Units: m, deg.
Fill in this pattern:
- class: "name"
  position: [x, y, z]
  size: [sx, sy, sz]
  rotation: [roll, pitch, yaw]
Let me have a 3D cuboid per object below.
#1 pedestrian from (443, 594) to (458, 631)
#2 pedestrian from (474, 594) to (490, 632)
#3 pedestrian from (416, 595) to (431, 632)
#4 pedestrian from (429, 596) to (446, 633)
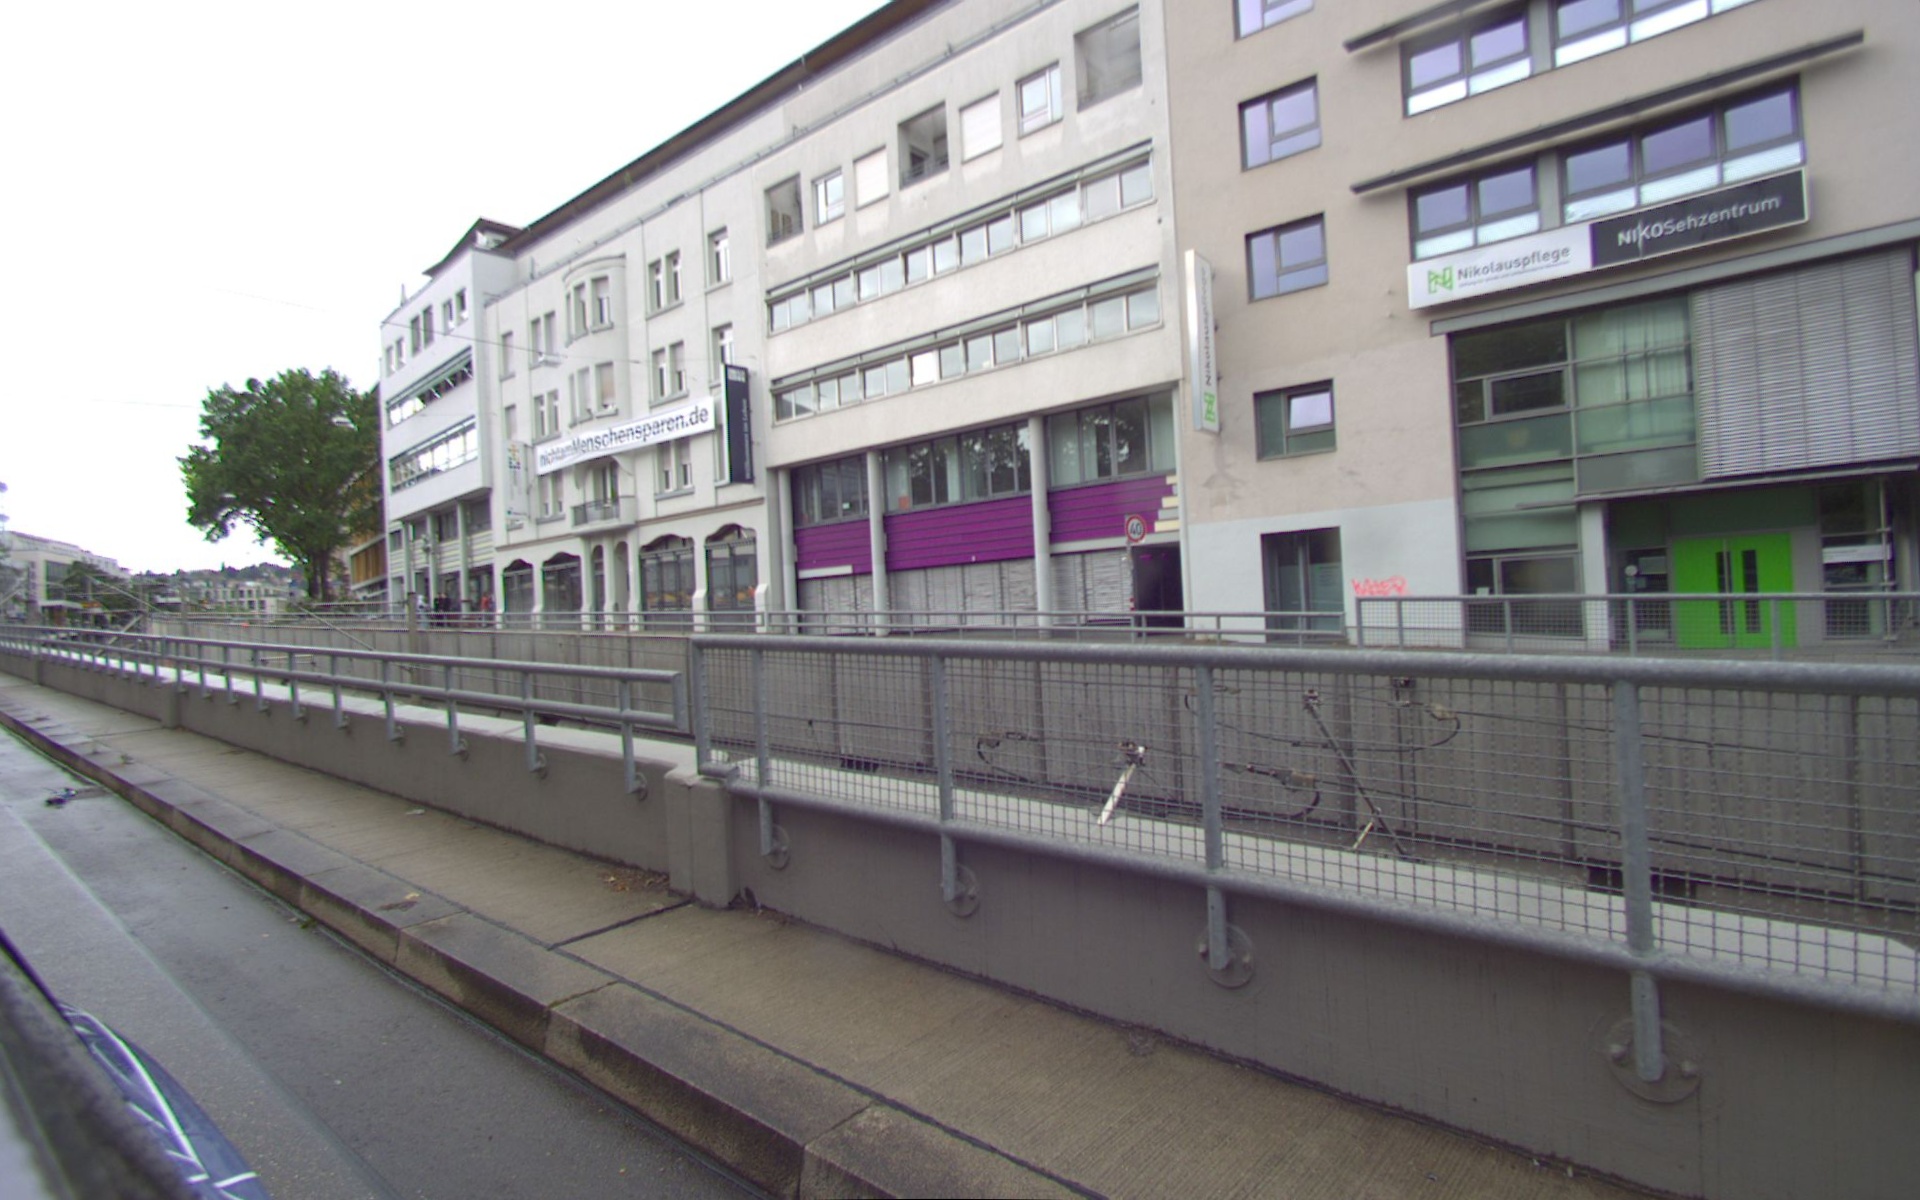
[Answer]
- class: "pedestrian"
  position: [-25.414, 0.625, 50.467]
  size: [0.547, 1.816, 0.463]
  rotation: [-2, 1, 44]
- class: "pedestrian"
  position: [-23.023, 0.627, 48.745]
  size: [0.547, 1.816, 0.464]
  rotation: [-1, 1, 40]
- class: "pedestrian"
  position: [-26.801, 0.671, 50.544]
  size: [0.463, 1.816, 0.548]
  rotation: [-3, 1, -42]
- class: "pedestrian"
  position: [-26.429, 0.725, 51.215]
  size: [0.469, 1.816, 0.541]
  rotation: [-2, 1, 33]
